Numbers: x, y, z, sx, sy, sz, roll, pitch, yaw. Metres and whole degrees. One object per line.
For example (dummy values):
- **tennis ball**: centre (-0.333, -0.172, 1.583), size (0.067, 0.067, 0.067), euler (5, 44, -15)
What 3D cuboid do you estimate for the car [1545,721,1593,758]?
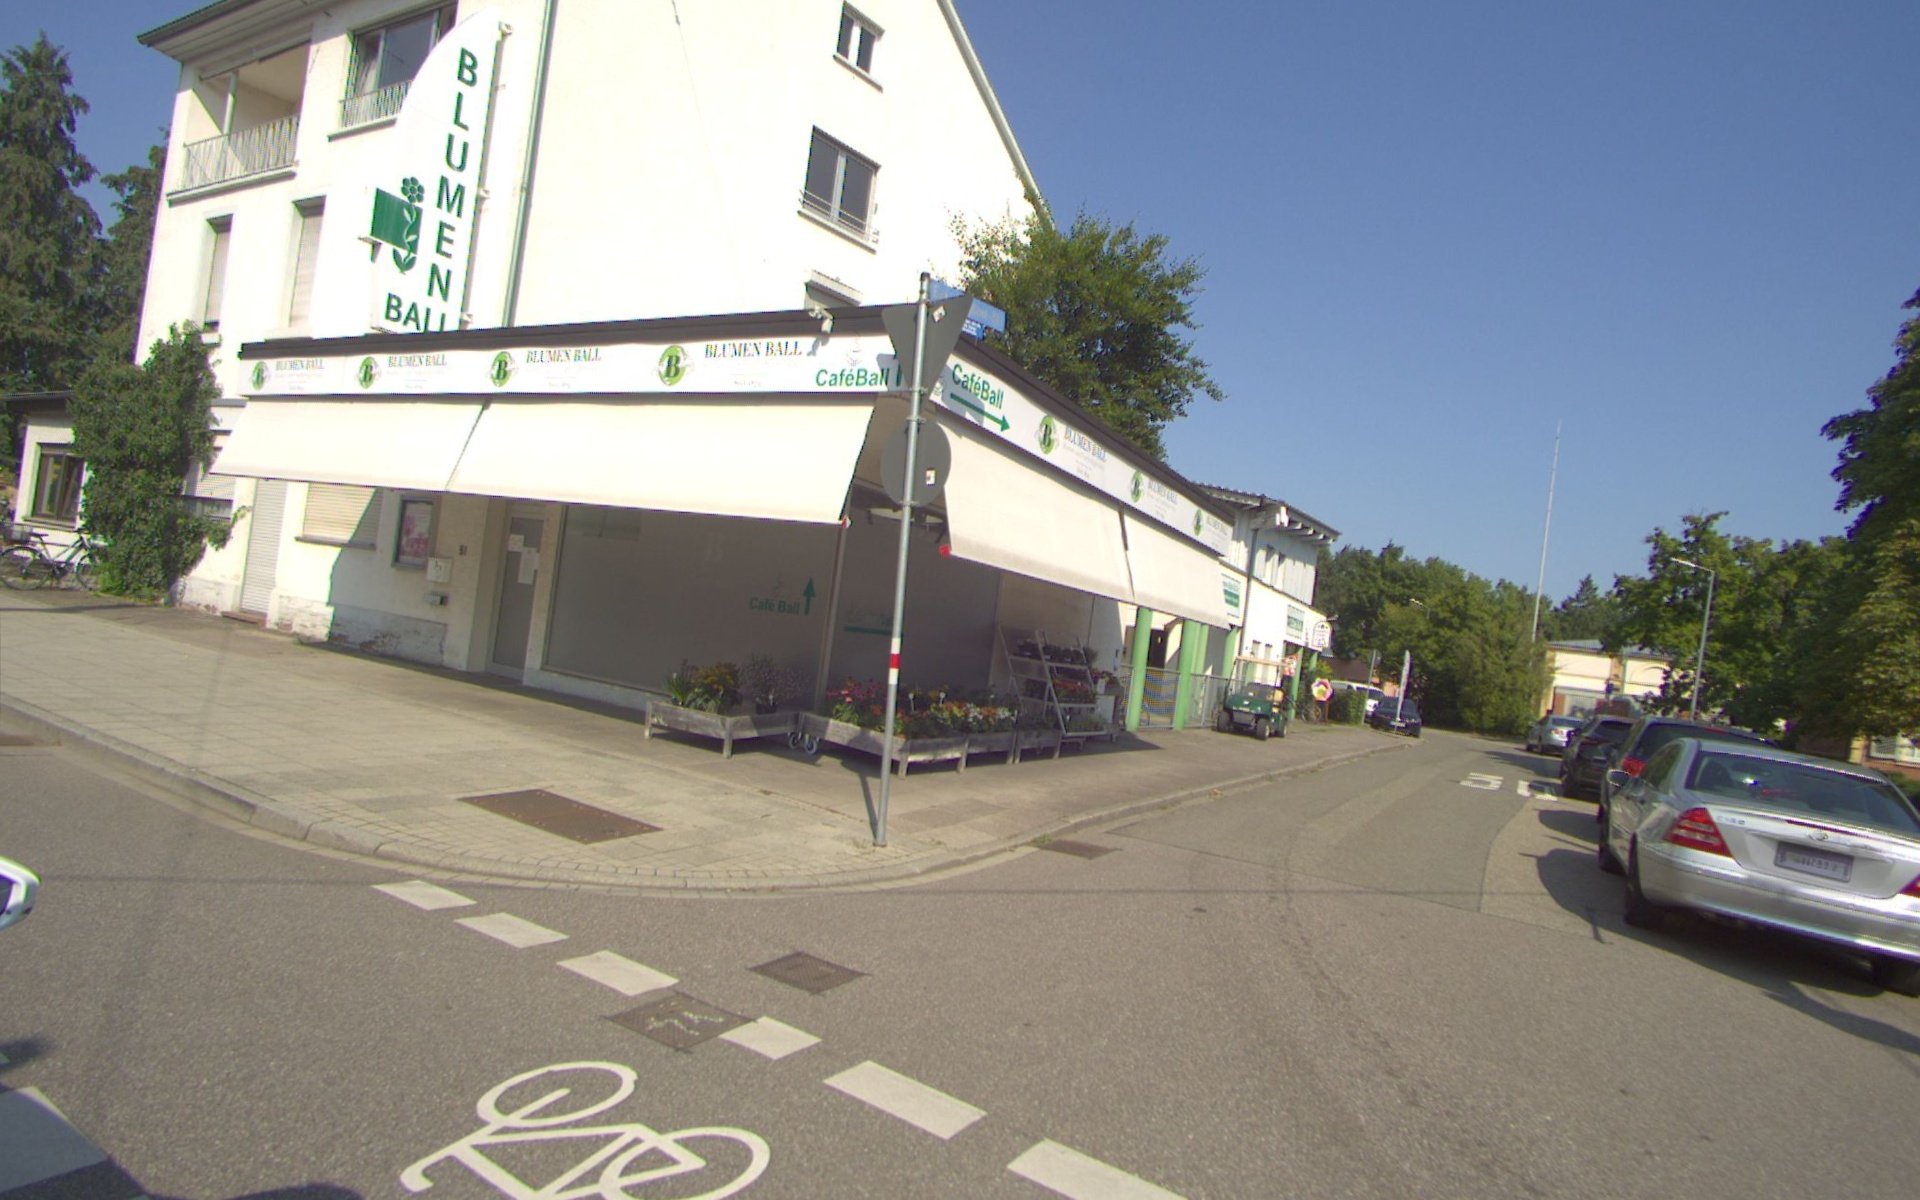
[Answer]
- **car**: centre (21.419, 4.875, 35.344), size (1.142, 1.080, 2.801), euler (7, -1, 36)

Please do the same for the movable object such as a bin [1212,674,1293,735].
- **movable object such as a bin**: centre (6.612, 2.343, 22.649), size (1.199, 1.140, 2.260), euler (7, -1, 28)

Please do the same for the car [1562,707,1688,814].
- **car**: centre (12.055, 2.841, 18.431), size (1.572, 1.513, 3.585), euler (7, -2, 31)

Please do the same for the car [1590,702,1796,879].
- **car**: centre (9.050, 2.226, 12.715), size (1.572, 1.587, 3.822), euler (7, 0, 31)

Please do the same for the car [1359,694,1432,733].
- **car**: centre (16.985, 4.407, 39.352), size (1.608, 1.221, 3.221), euler (8, -5, 6)

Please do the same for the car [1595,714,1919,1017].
- **car**: centre (6.184, 1.804, 7.995), size (1.634, 1.428, 4.185), euler (7, 0, 31)

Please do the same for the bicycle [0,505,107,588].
- **bicycle**: centre (-15.349, -0.921, 16.621), size (2.788, 1.148, 0.732), euler (7, 2, 24)

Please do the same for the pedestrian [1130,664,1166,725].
- **pedestrian**: centre (3.688, 1.851, 19.742), size (0.405, 1.139, 0.502), euler (7, 1, 32)
